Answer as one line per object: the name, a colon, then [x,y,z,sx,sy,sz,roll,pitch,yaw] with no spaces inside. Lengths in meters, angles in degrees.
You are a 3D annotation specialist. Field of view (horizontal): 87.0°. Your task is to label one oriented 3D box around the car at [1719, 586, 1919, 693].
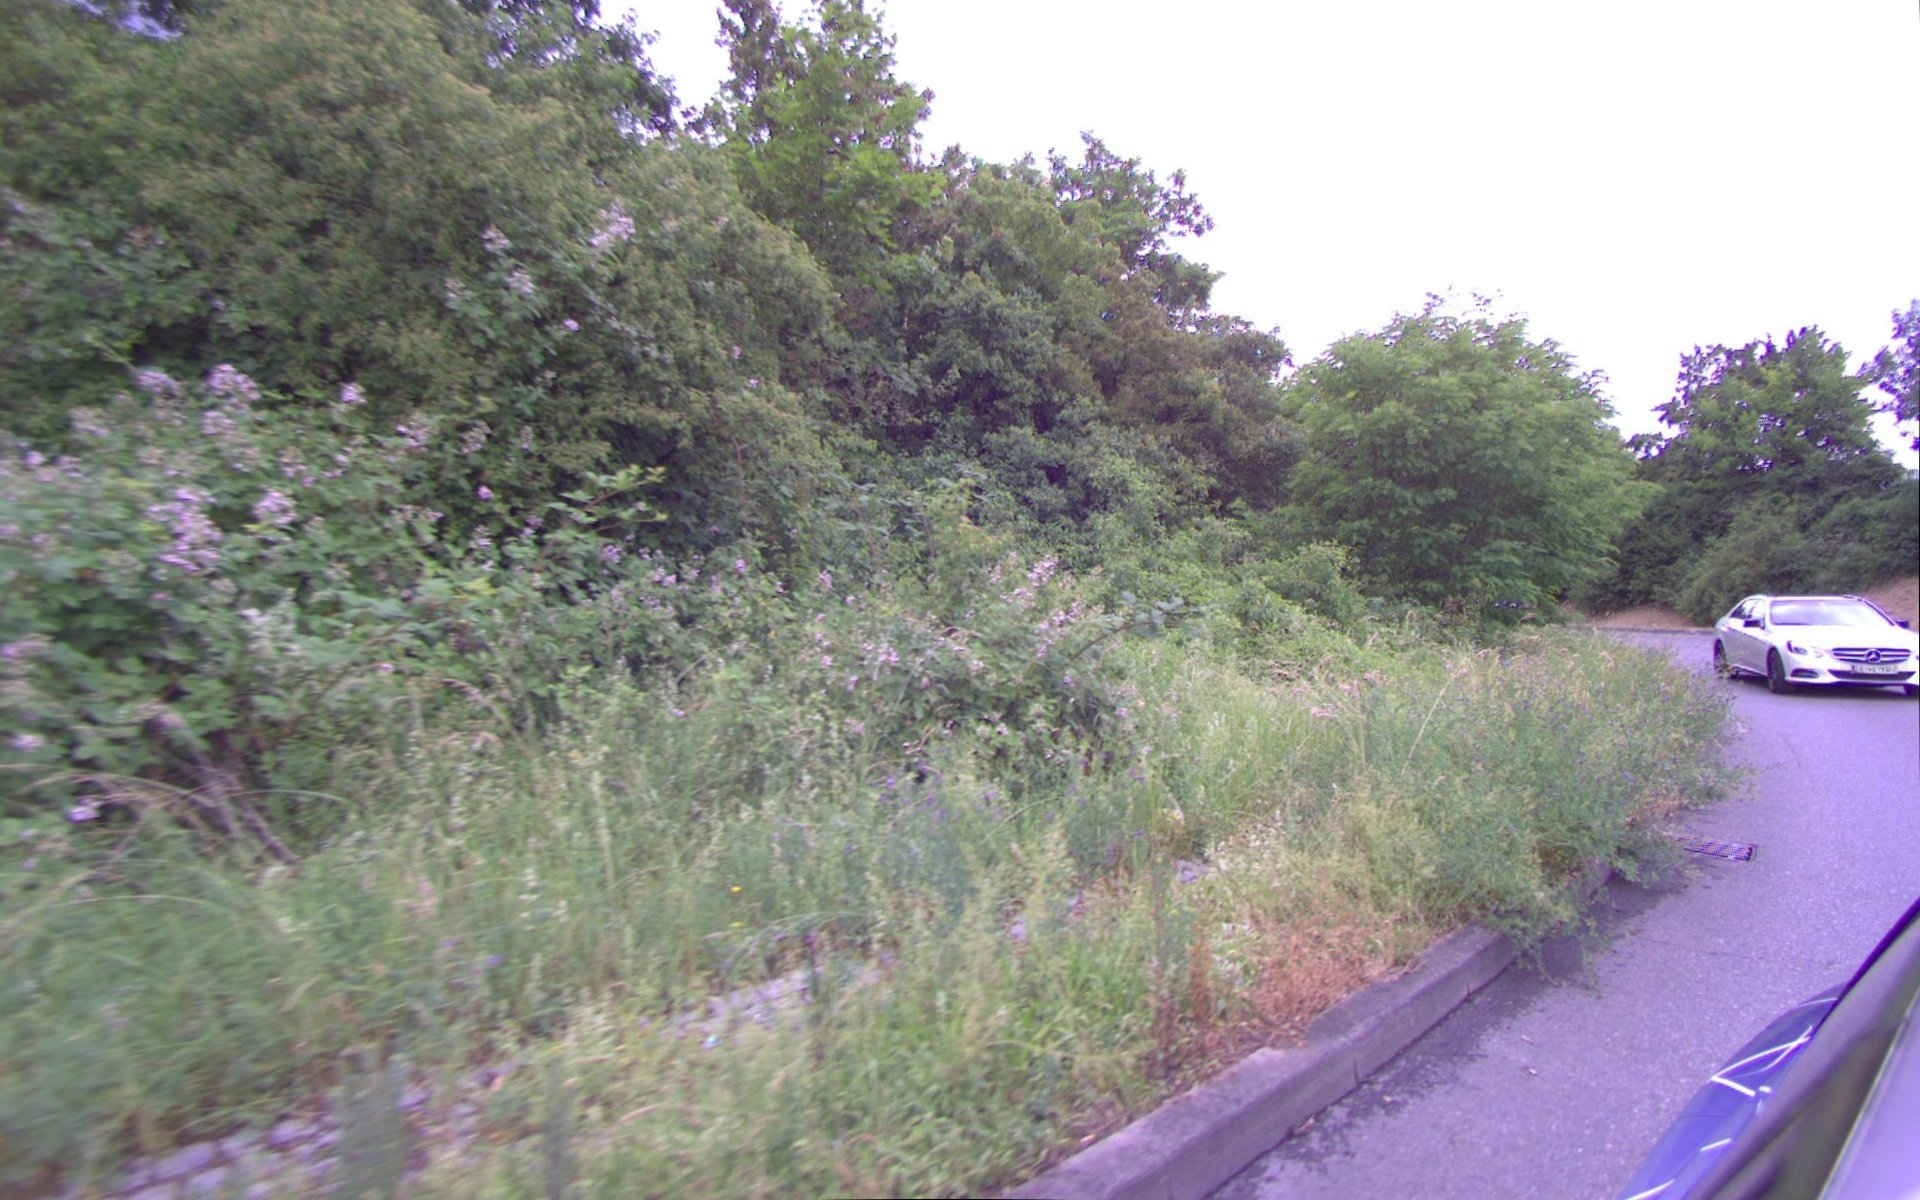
car: [13.513,0.528,15.718,1.868,1.440,3.967,-1,0,24]
